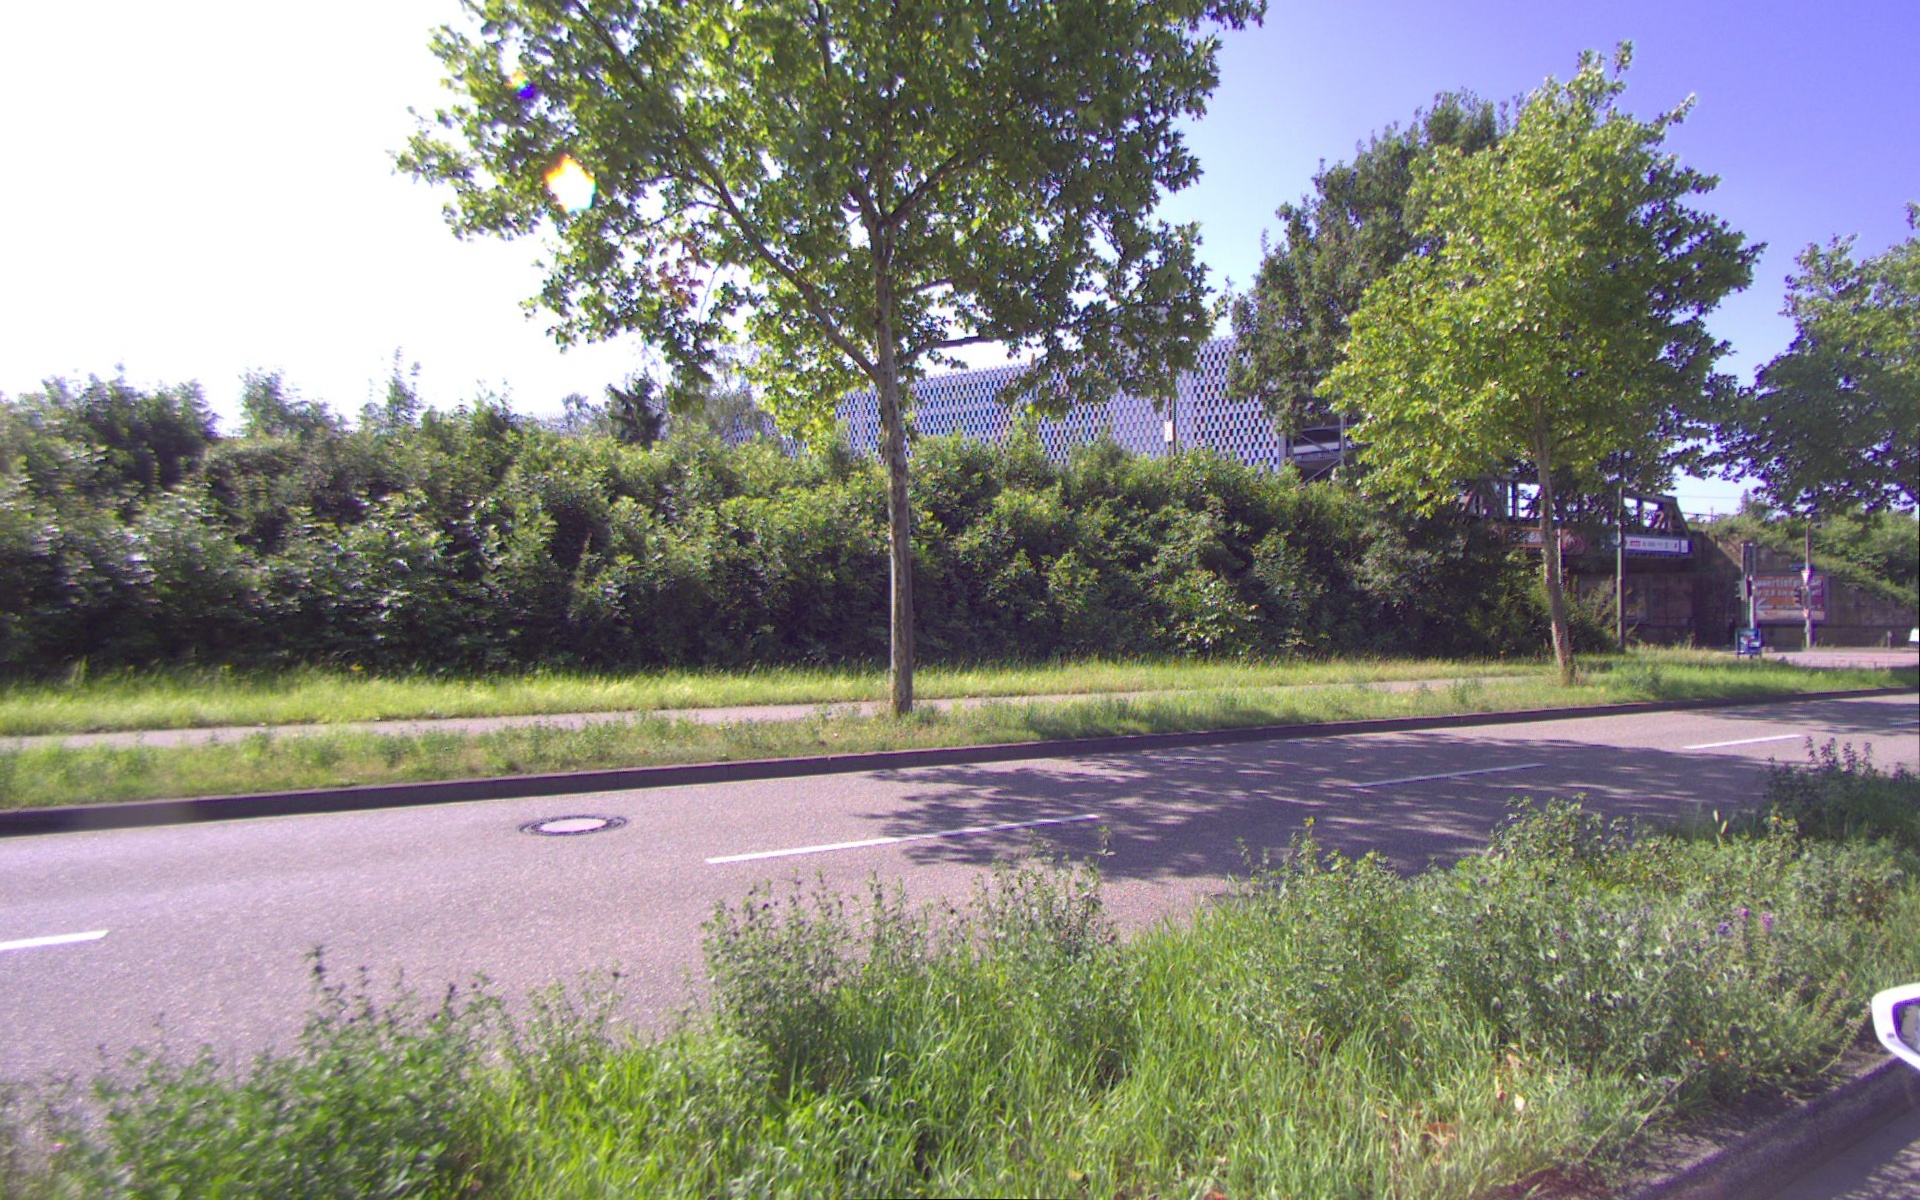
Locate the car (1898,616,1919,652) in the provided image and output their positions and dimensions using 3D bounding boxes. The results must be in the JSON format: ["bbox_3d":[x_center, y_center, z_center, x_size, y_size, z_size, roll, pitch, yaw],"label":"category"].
[{"bbox_3d":[45.865,1.605,45.833,4.037,1.648,1.999,1,0,24],"label":"car"}]
